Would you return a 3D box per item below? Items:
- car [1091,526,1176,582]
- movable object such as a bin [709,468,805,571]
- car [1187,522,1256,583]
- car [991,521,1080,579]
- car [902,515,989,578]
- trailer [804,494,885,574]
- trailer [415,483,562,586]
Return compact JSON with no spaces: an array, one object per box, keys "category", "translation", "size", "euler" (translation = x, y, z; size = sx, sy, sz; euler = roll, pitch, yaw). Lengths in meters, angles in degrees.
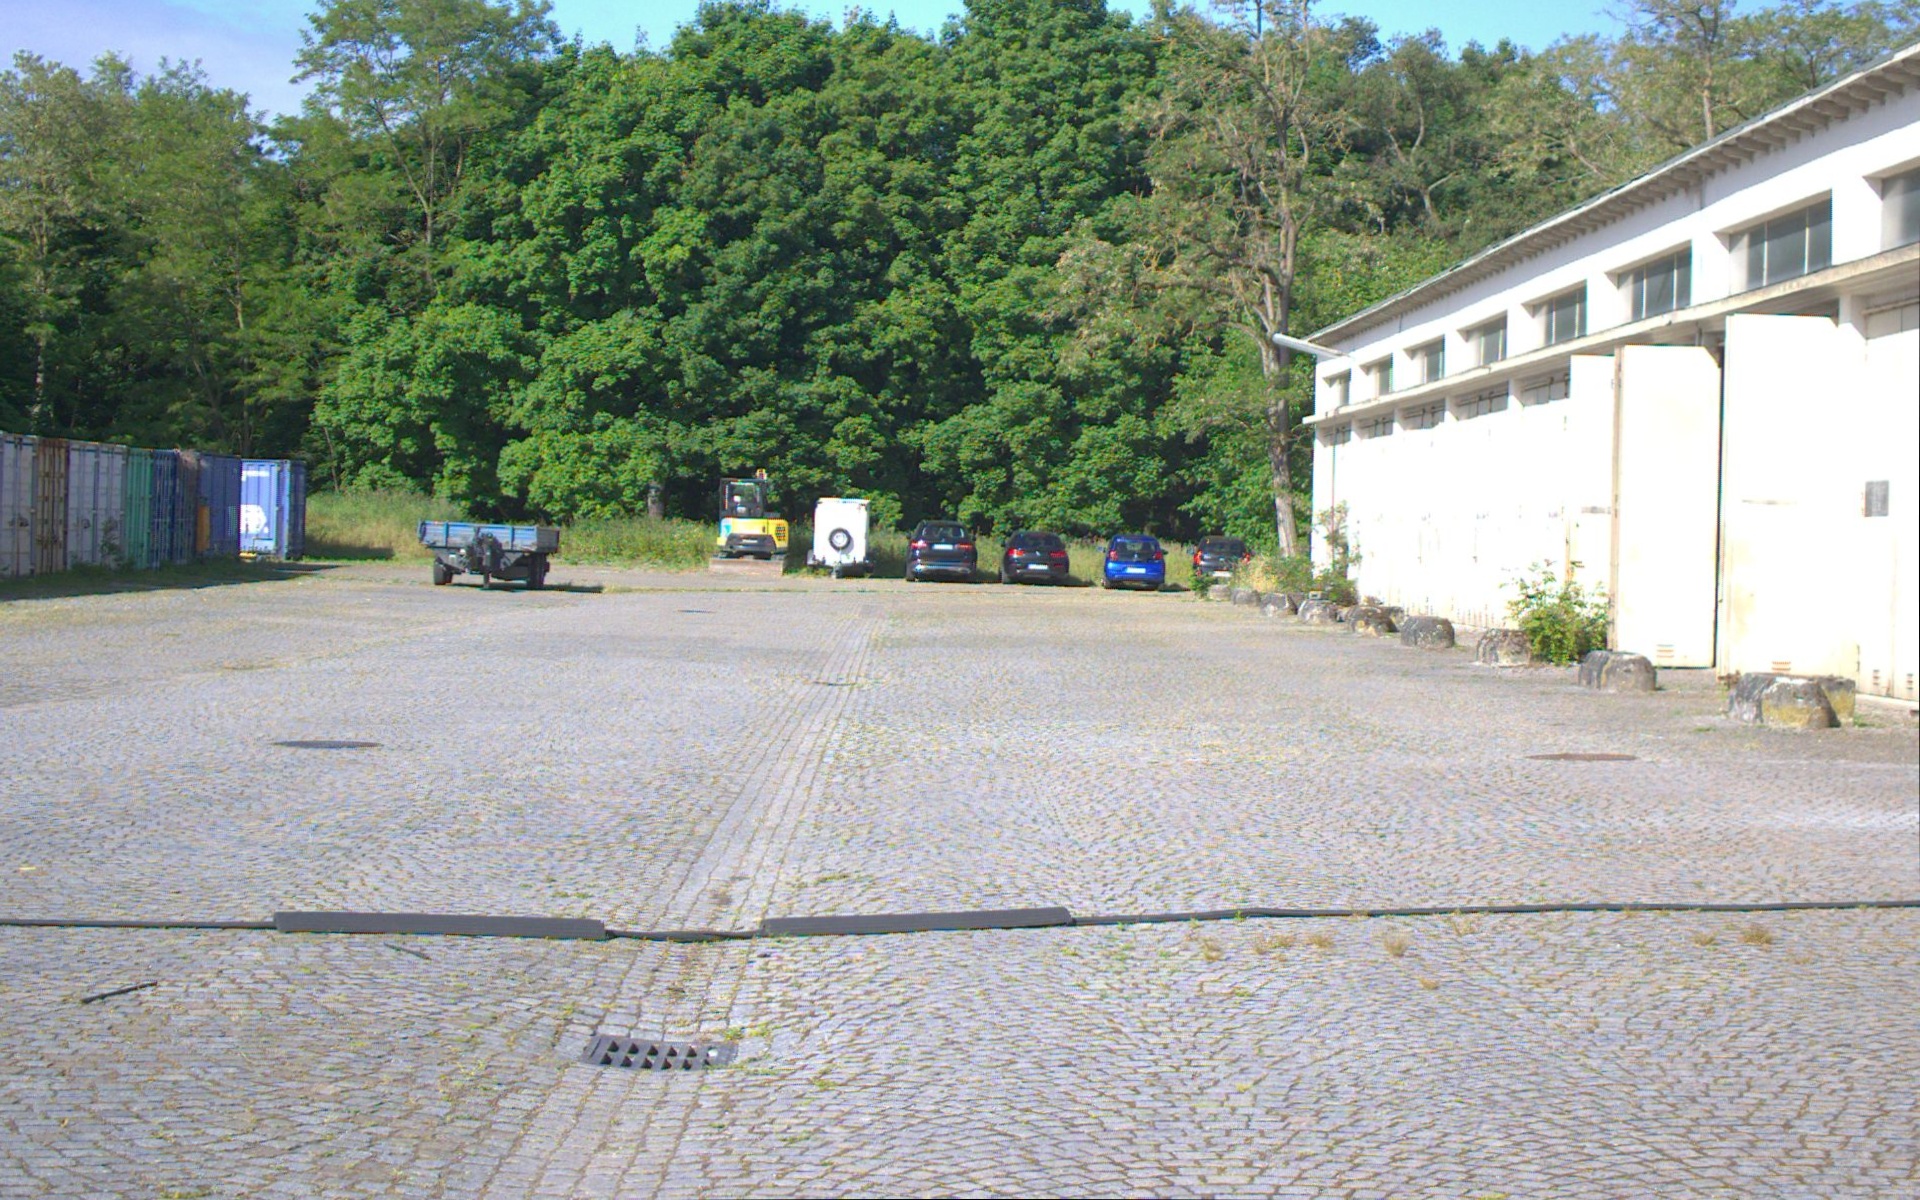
[{"category":"car","translation":[4.671,-1.242,92.009],"size":[1.994,1.415,3.999],"euler":[2,1,6]},{"category":"movable object such as a bin","translation":[-5.500,-2.188,93.687],"size":[1.994,2.609,4.000],"euler":[4,1,3]},{"category":"car","translation":[7.106,-1.292,93.261],"size":[1.685,1.558,3.999],"euler":[2,1,6]},{"category":"car","translation":[2.039,-1.334,91.985],"size":[1.994,1.457,3.999],"euler":[2,1,6]},{"category":"car","translation":[-0.365,-1.429,91.770],"size":[1.862,1.580,3.999],"euler":[2,1,6]},{"category":"trailer","translation":[-3.107,-1.794,93.438],"size":[1.794,2.083,3.971],"euler":[2,1,3]},{"category":"trailer","translation":[-10.153,-1.417,74.361],"size":[2.407,2.006,4.173],"euler":[4,1,1]}]
